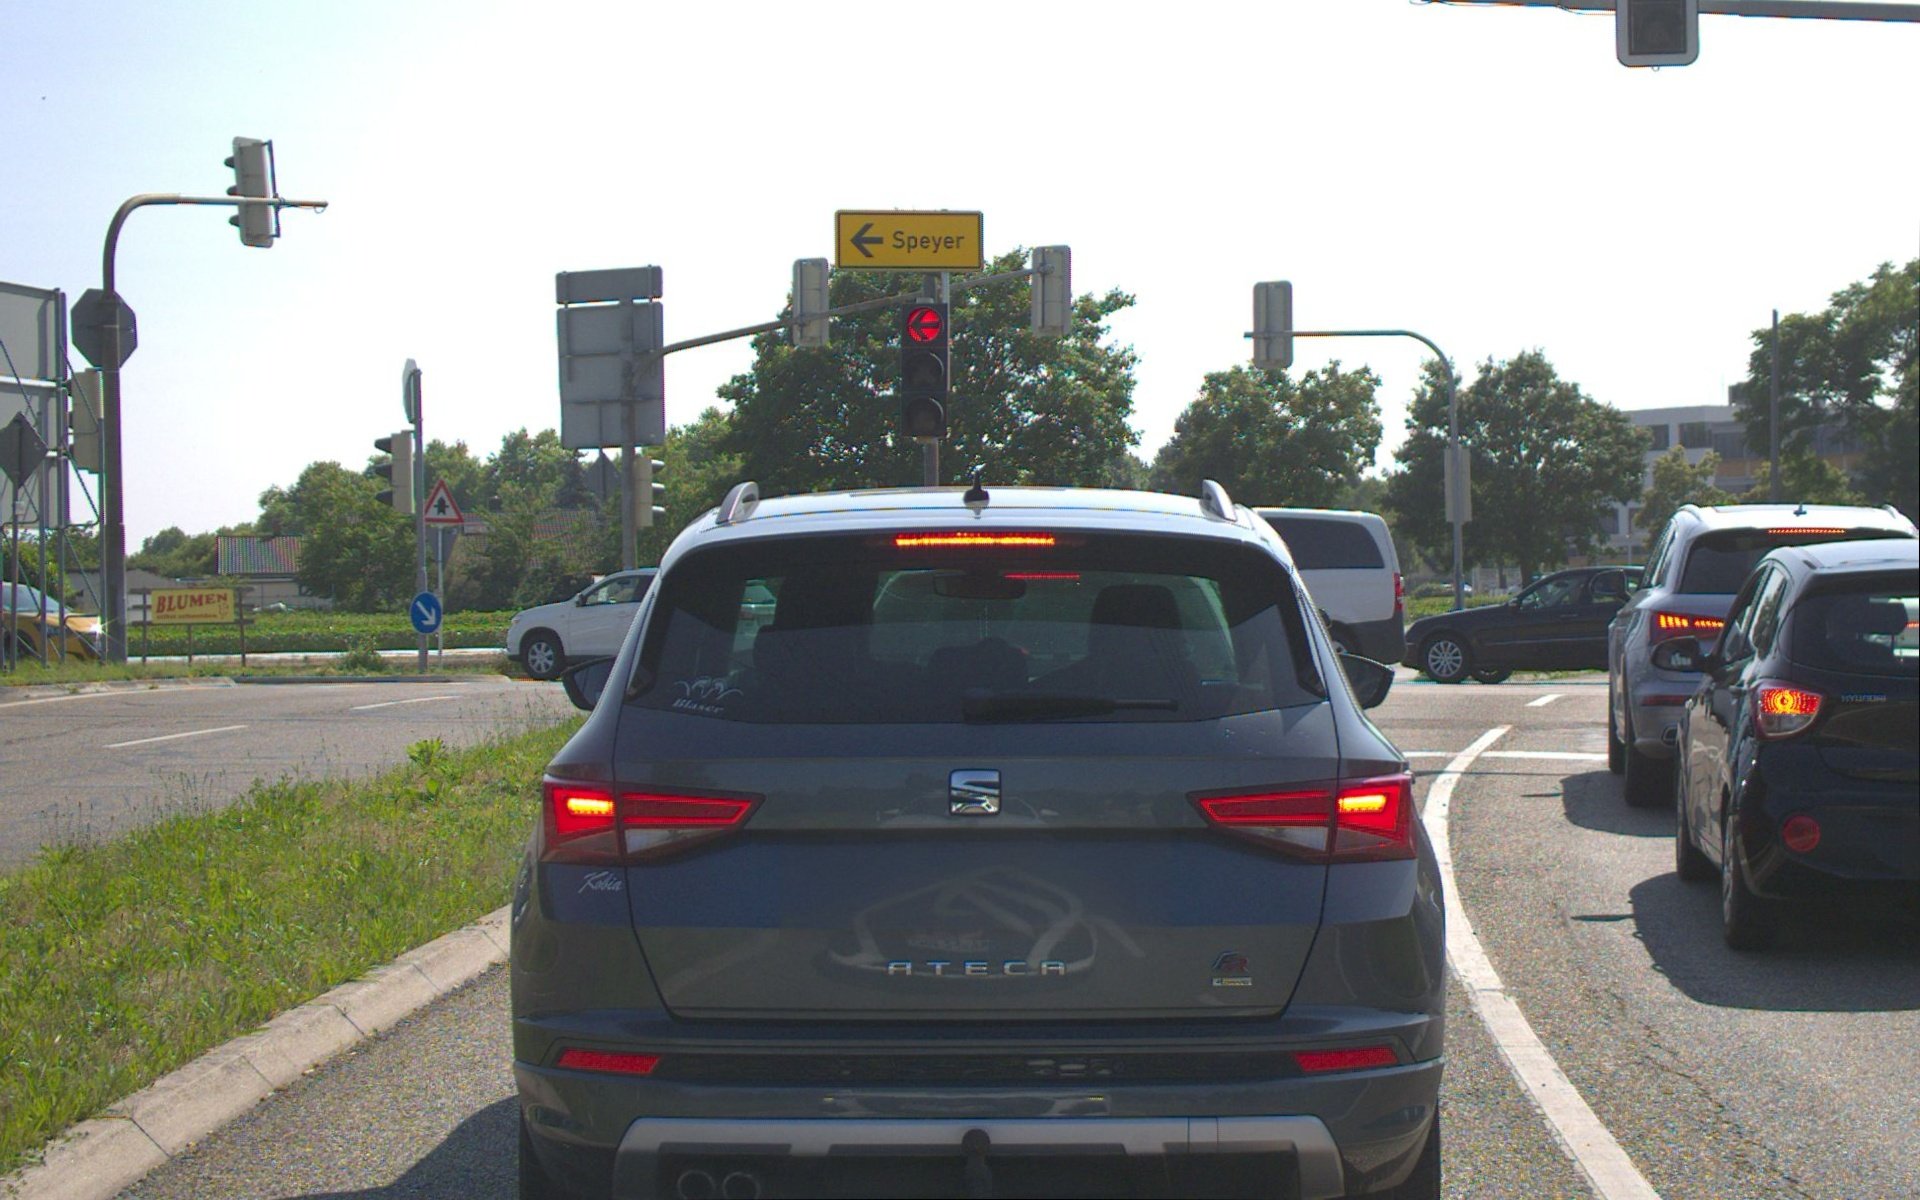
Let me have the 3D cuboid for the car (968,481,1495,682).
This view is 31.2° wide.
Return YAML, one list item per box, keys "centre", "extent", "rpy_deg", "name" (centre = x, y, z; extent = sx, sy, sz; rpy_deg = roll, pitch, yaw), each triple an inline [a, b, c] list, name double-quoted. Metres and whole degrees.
- centre: [2.742, -0.206, 34.584]
  extent: [4.931, 1.911, 2.000]
  rpy_deg: [0, 2, -25]
  name: "car"

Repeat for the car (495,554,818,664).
- centre: [-4.386, 0.125, 49.603]
  extent: [4.327, 1.514, 1.805]
  rpy_deg: [0, 1, 27]
  name: "car"

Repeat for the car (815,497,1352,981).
- centre: [0.455, 0.437, 13.150]
  extent: [1.742, 1.563, 3.624]
  rpy_deg: [1, 1, 2]
  name: "car"

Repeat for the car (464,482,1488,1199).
- centre: [0.041, 0.553, 7.700]
  extent: [1.742, 1.563, 3.624]
  rpy_deg: [1, 1, 1]
  name: "car"

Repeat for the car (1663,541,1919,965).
- centre: [3.688, 0.500, 13.346]
  extent: [1.633, 1.443, 3.294]
  rpy_deg: [1, 1, 8]
  name: "car"

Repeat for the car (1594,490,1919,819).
- centre: [4.539, 0.252, 19.527]
  extent: [1.633, 1.671, 3.748]
  rpy_deg: [1, 1, 8]
  name: "car"

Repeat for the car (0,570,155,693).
- centre: [-13.365, 0.424, 47.867]
  extent: [3.993, 1.645, 1.817]
  rpy_deg: [0, 1, 29]
  name: "car"

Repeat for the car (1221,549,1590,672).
- centre: [5.704, 0.126, 44.064]
  extent: [4.327, 1.514, 1.805]
  rpy_deg: [0, 1, 27]
  name: "car"

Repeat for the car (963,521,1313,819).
- centre: [1.084, 0.334, 19.298]
  extent: [1.742, 1.479, 3.623]
  rpy_deg: [1, 1, 6]
  name: "car"
